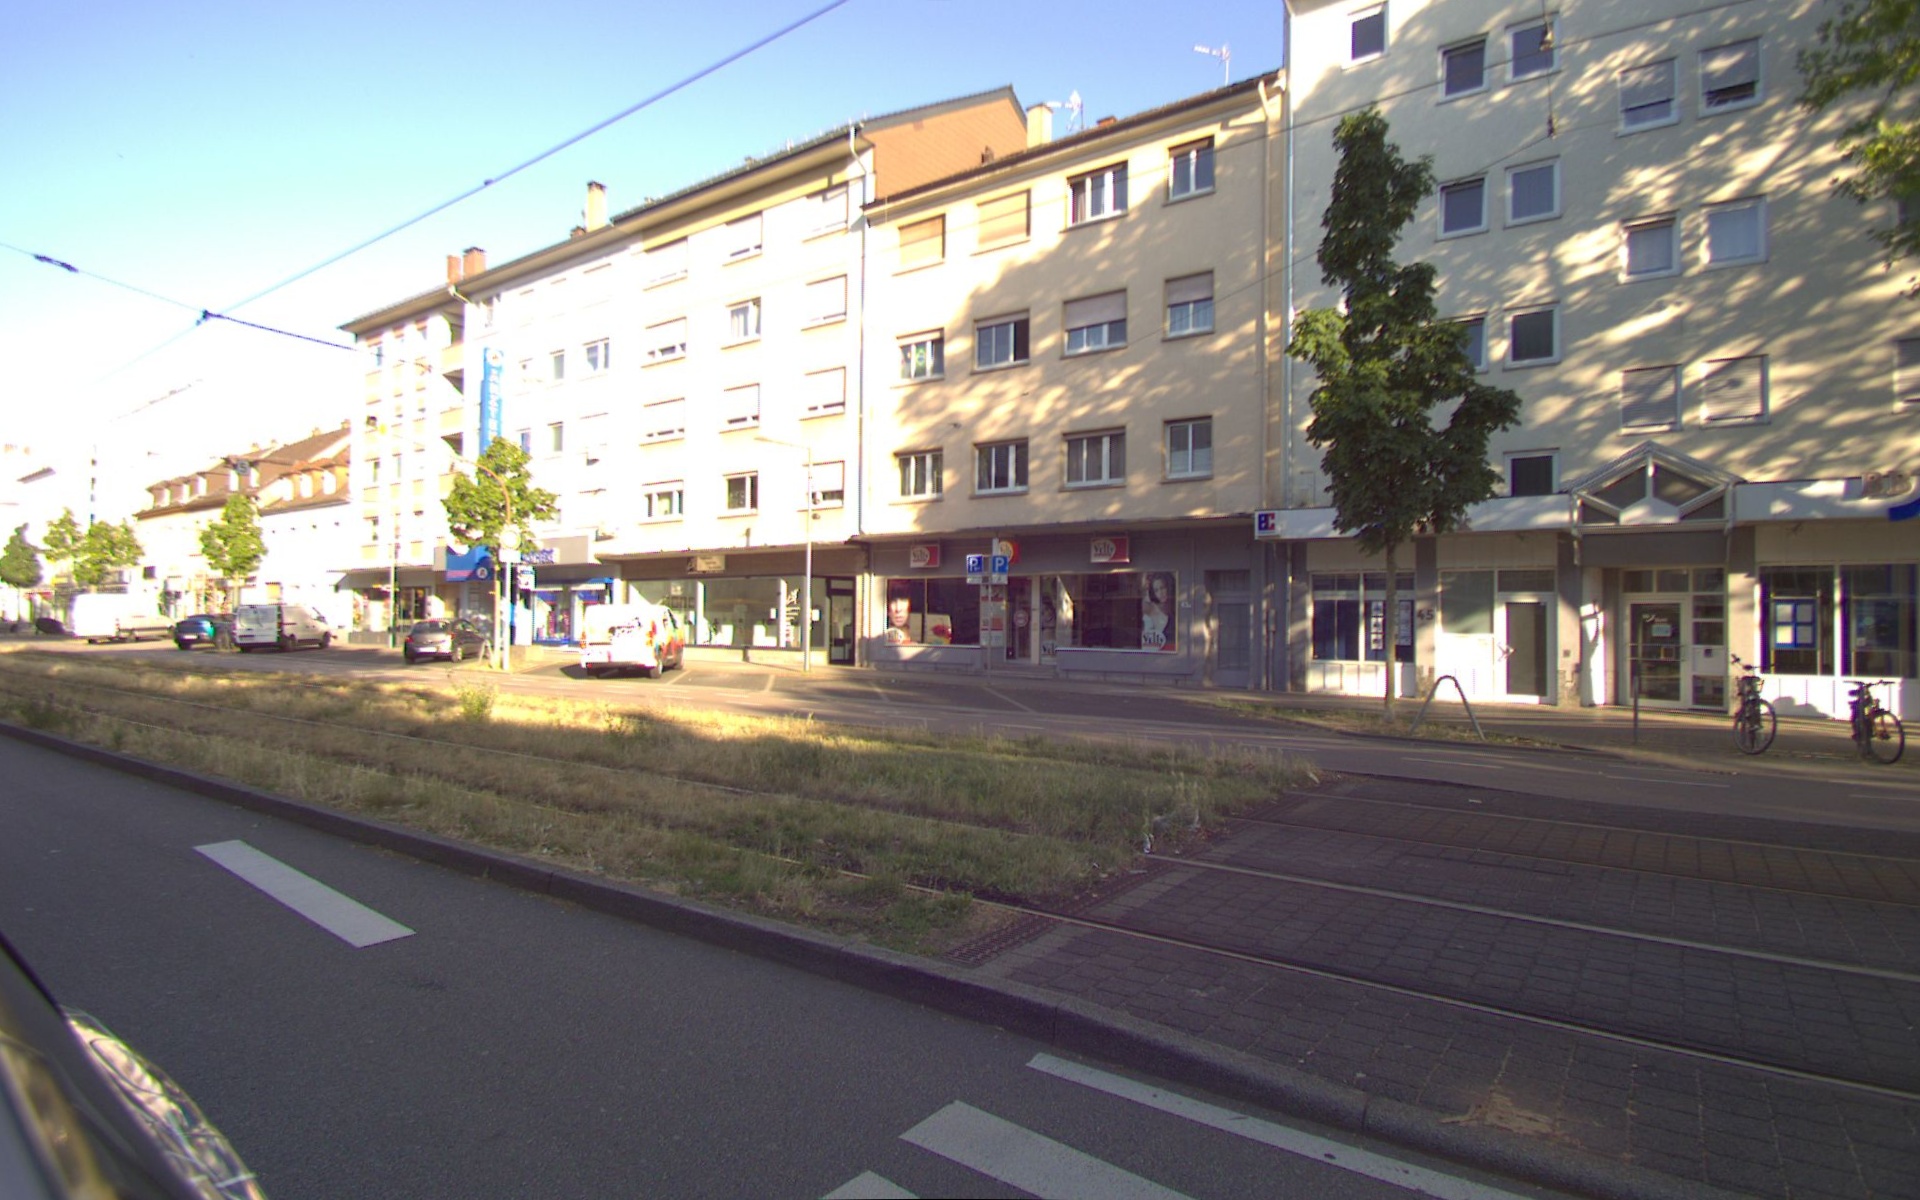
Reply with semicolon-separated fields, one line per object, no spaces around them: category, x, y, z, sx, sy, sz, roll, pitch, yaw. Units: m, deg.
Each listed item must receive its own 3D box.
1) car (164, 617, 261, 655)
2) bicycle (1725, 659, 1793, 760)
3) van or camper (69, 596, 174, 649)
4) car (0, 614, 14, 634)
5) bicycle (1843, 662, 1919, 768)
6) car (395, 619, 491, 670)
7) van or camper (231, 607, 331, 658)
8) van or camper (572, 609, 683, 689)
car;-34.310;1.612;46.580;1.850;1.598;4.007;-1;0;-7
bicycle;10.359;1.377;13.161;0.533;1.133;1.878;-1;-1;34
van or camper;-45.397;1.179;55.017;1.966;2.687;6.417;-1;0;-16
car;-73.411;1.859;75.455;1.752;1.501;3.899;-1;0;13
bicycle;11.384;1.371;12.442;0.533;1.133;1.878;-1;-1;34
car;-17.624;1.466;34.705;1.741;1.501;4.461;-1;0;-11
van or camper;-28.577;1.314;42.758;1.771;2.004;4.460;-1;0;-9
van or camper;-8.898;1.225;27.495;1.921;1.912;4.822;-1;0;-6
